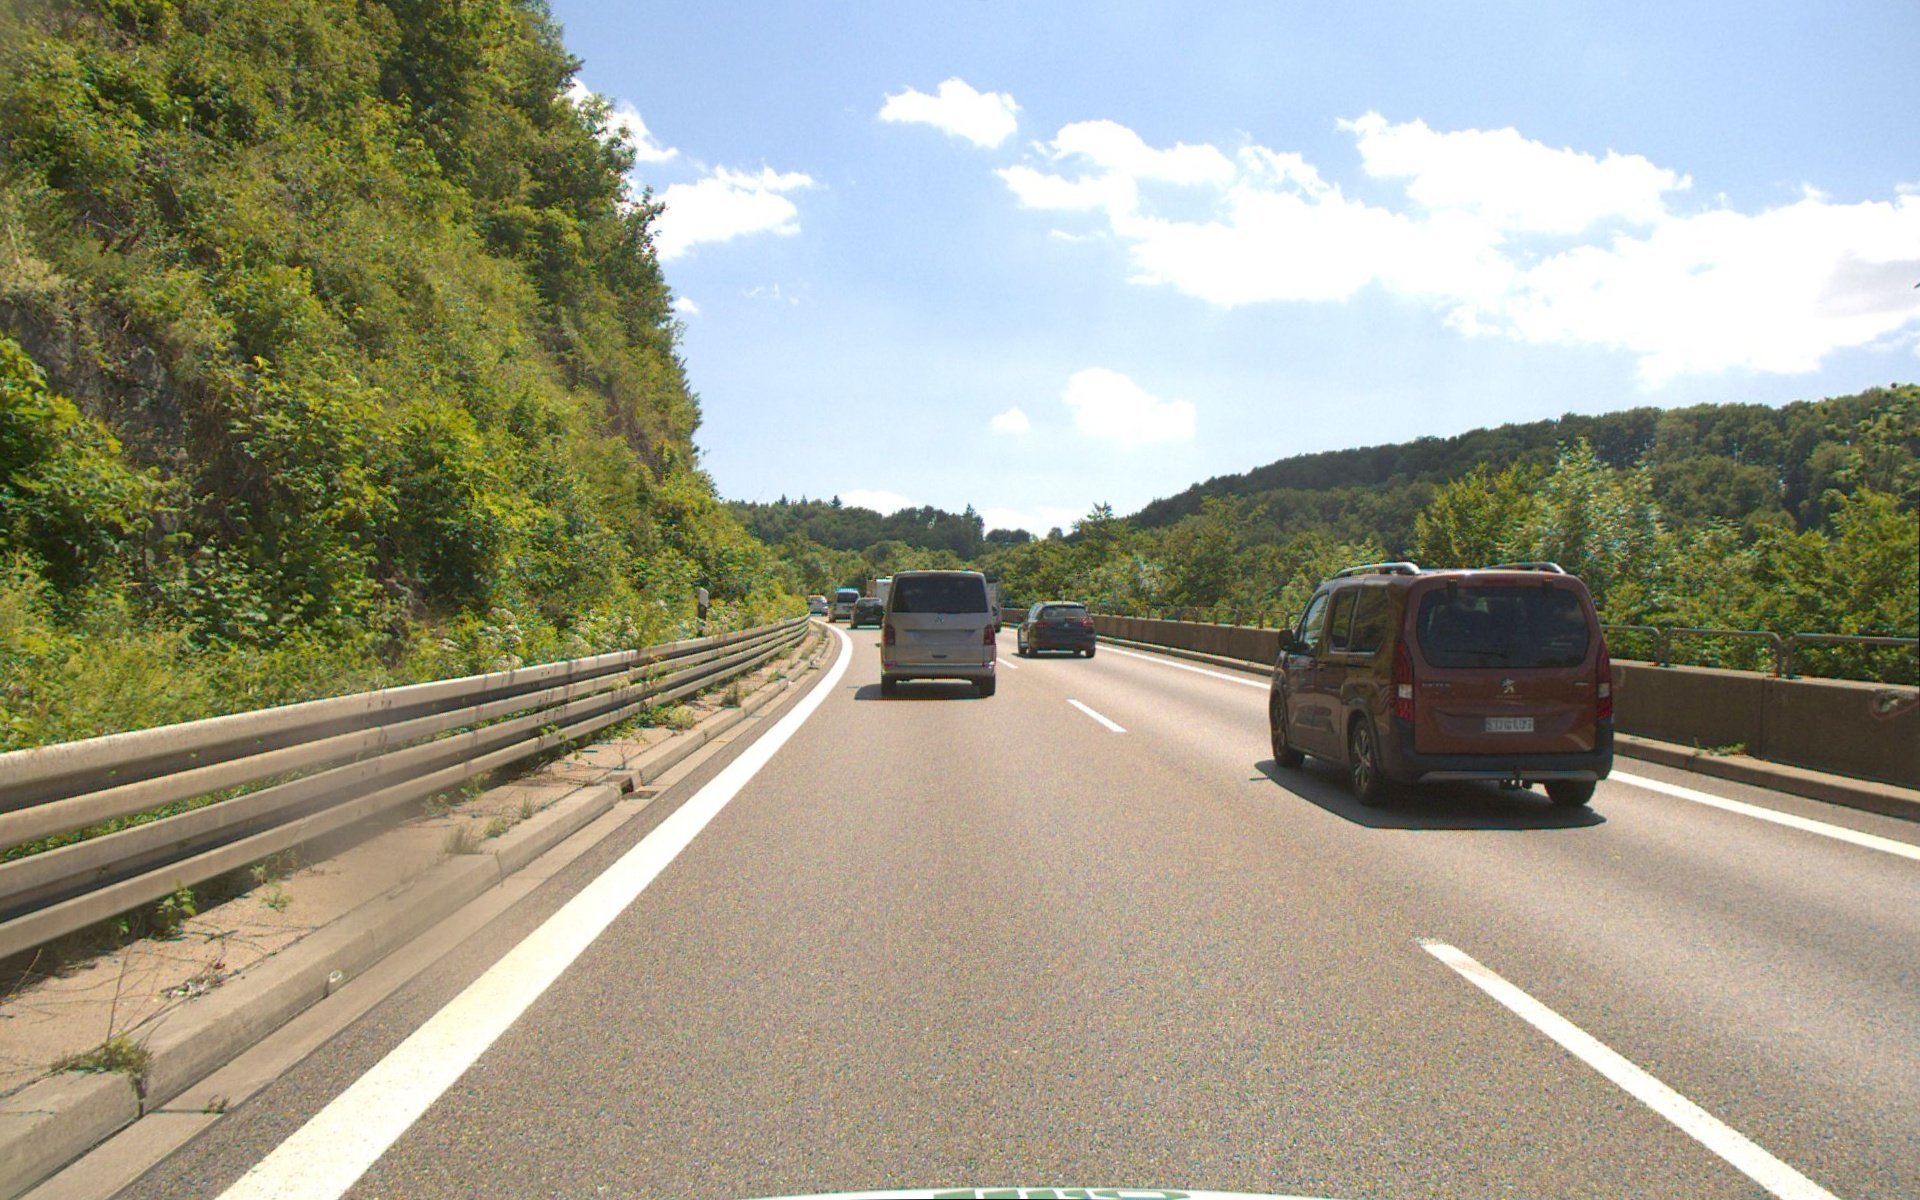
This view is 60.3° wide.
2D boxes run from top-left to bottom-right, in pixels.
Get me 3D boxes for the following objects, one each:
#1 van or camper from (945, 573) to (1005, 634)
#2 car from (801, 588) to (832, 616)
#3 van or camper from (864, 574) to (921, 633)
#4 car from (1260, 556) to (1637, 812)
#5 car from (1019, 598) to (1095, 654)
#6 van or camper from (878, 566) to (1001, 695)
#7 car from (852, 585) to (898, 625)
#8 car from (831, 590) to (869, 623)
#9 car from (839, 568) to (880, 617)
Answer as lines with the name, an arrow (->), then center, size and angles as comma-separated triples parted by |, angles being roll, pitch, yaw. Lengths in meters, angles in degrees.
van or camper -> 0.614, 0.158, 73.395 | 2.219, 2.596, 4.732 | -1, 0, -5
car -> -10.276, 0.134, 118.127 | 1.956, 1.948, 3.993 | 0, 0, -8
van or camper -> -4.682, 0.245, 112.922 | 3.214, 3.855, 8.098 | 0, 0, -7
car -> 3.902, 0.615, 14.112 | 1.796, 1.815, 4.675 | 0, -1, -1
car -> 2.581, 0.678, 44.664 | 1.733, 1.400, 3.591 | 1, 0, -2
van or camper -> -0.424, 0.474, 27.669 | 1.838, 1.983, 4.290 | 0, 0, -4
car -> -4.084, 0.215, 79.174 | 1.955, 1.849, 3.995 | 1, 0, -6
car -> -6.309, 0.346, 95.234 | 1.953, 1.849, 3.999 | 1, 0, -2
car -> -10.684, -0.781, 174.549 | 3.965, 4.957, 10.097 | 0, 0, -6
